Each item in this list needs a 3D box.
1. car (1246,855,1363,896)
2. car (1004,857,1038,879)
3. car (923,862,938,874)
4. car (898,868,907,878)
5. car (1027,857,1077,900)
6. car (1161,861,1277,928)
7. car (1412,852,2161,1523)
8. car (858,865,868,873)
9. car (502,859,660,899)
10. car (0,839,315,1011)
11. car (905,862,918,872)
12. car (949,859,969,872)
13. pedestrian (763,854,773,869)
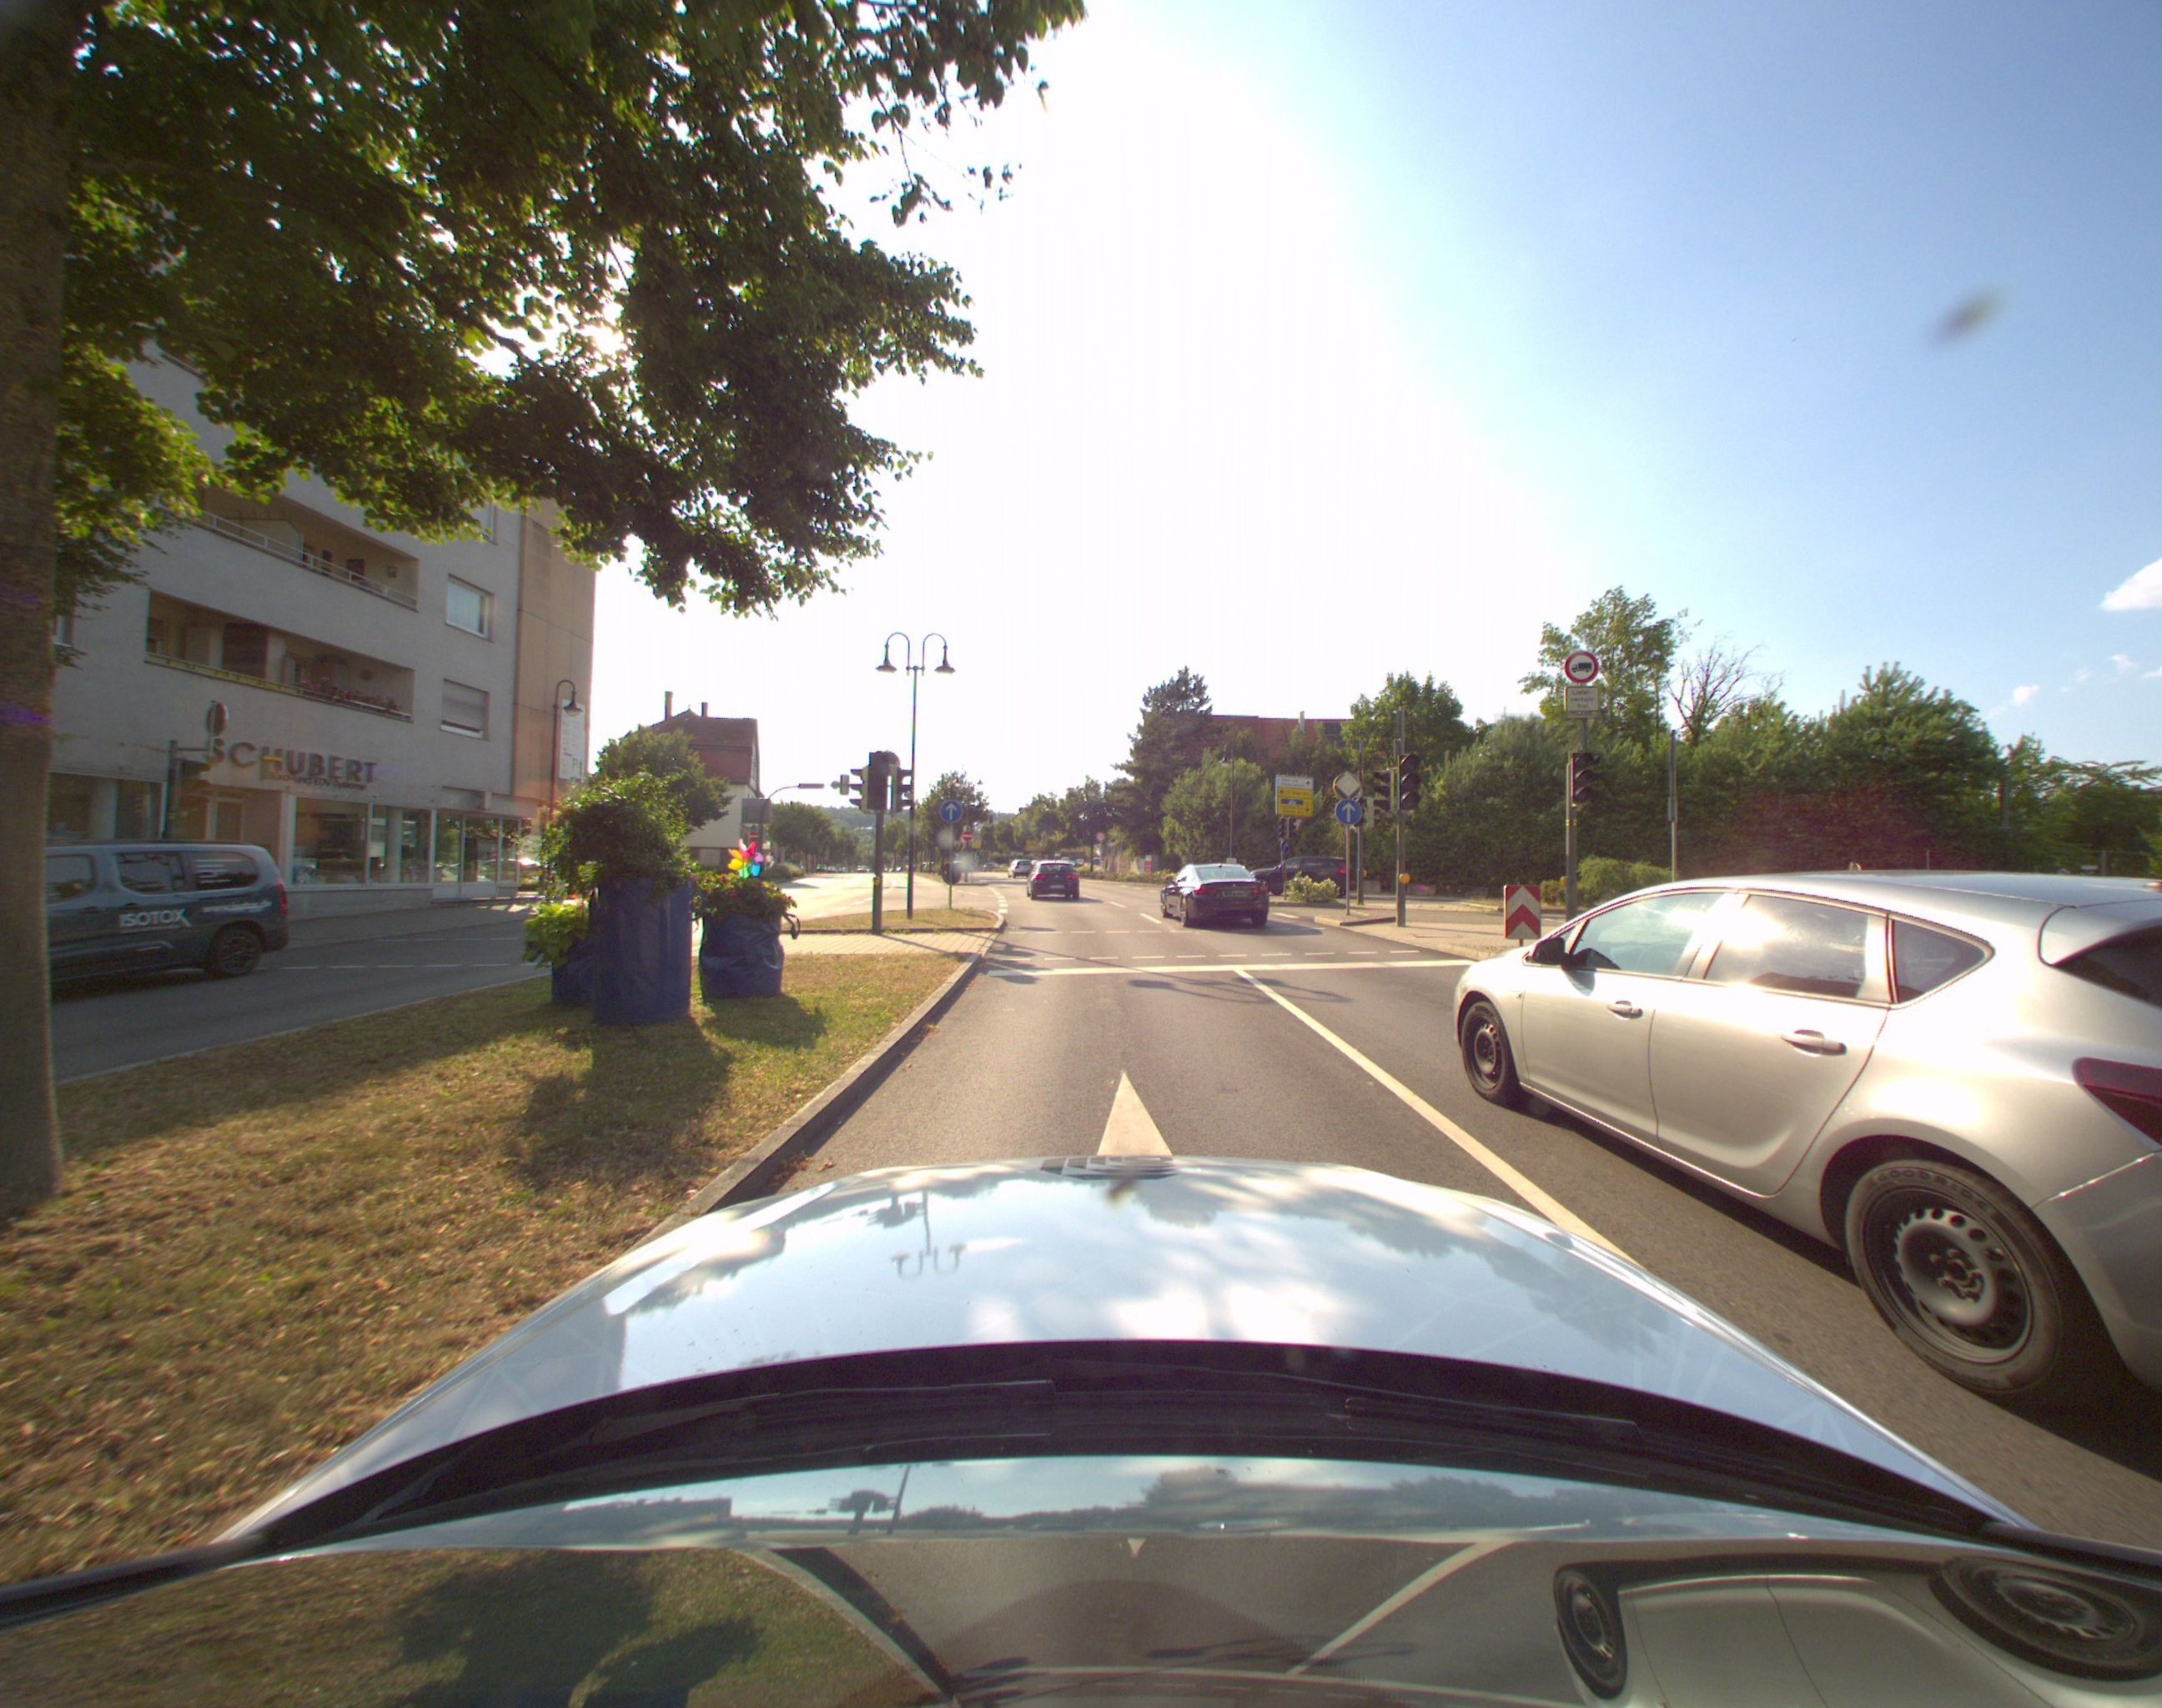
[{"bbox_3d":[9.001,0.821,32.969,4.216,1.567,1.804,0,-1,36],"label":"car"},{"bbox_3d":[-4.905,1.127,66.030,1.929,1.769,4.430,0,-1,-16],"label":"car"},{"bbox_3d":[-21.306,1.960,115.159,1.759,1.769,3.949,0,-1,-16],"label":"car"},{"bbox_3d":[-38.222,4.046,174.817,1.773,2.014,3.985,0,-1,-11],"label":"car"},{"bbox_3d":[-1.169,0.884,30.889,1.718,1.490,4.346,0,-1,-4],"label":"car"},{"bbox_3d":[3.073,0.868,19.014,1.915,1.364,4.351,0,-1,-1],"label":"car"},{"bbox_3d":[3.292,0.744,3.884,1.715,1.490,4.306,0,0,0],"label":"car"},{"bbox_3d":[-39.128,2.717,146.234,1.758,1.361,4.464,0,-1,-13],"label":"car"},{"bbox_3d":[-19.319,0.961,31.690,4.855,1.437,1.912,-1,-1,-8],"label":"car"},{"bbox_3d":[-11.871,0.736,9.226,1.848,1.736,4.918,-1,-1,-2],"label":"car"},{"bbox_3d":[-32.819,2.493,157.818,2.221,1.769,4.430,0,-1,-16],"label":"car"},{"bbox_3d":[-17.091,1.660,113.629,2.221,1.769,4.430,0,-1,-16],"label":"car"},{"bbox_3d":[-27.920,0.661,72.598,0.814,1.394,0.703,0,-1,-17],"label":"pedestrian"}]
